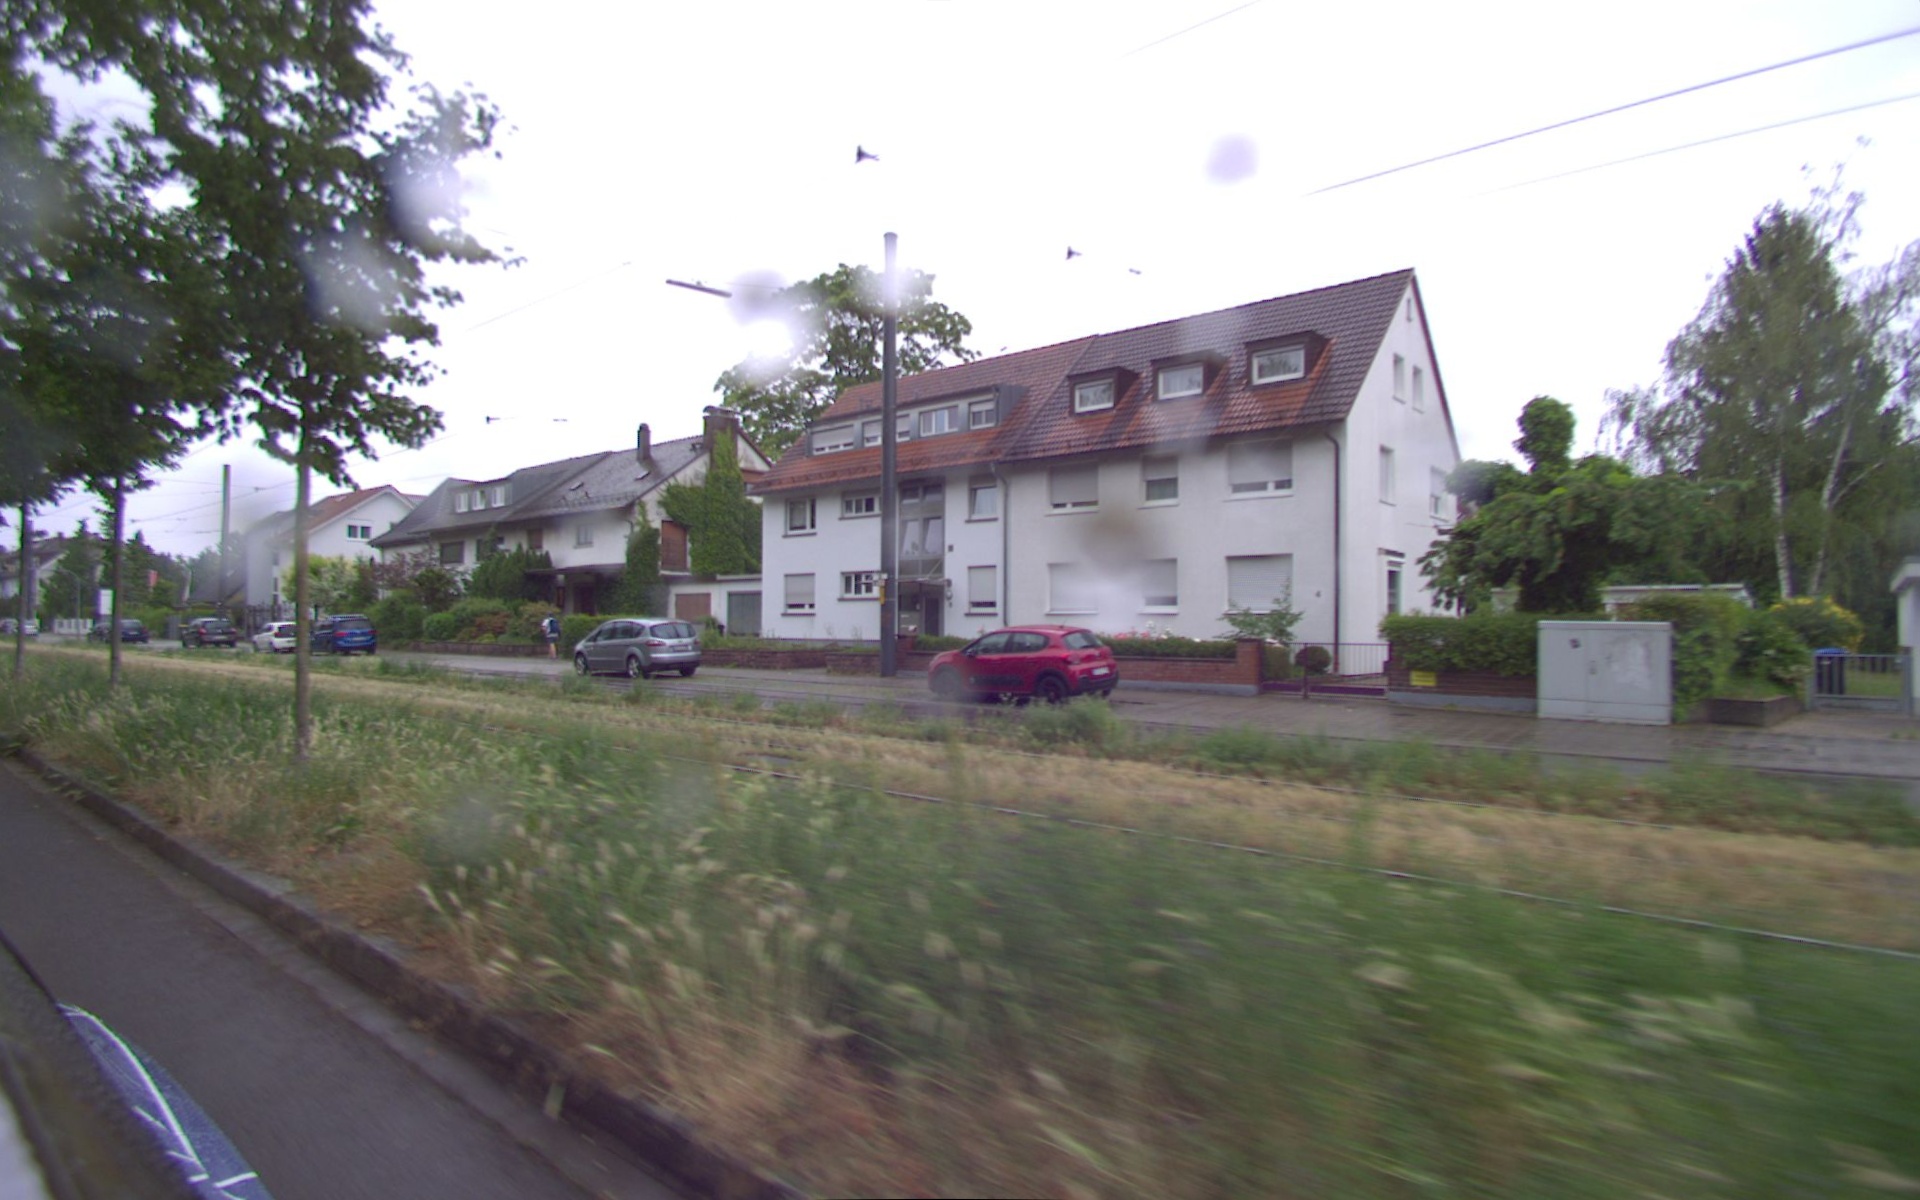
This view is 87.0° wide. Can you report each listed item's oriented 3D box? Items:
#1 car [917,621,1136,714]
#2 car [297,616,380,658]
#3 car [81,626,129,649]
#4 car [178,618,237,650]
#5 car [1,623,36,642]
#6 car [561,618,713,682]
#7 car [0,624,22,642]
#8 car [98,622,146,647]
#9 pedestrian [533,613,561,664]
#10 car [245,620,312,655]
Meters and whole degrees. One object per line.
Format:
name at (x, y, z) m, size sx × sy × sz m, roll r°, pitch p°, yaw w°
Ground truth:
car at (1.234, 1.225, 19.735) m, size 3.971 × 1.558 × 1.822 m, roll -1°, pitch 0°, yaw 42°
car at (-27.068, 1.569, 44.063) m, size 4.178 × 1.719 × 1.826 m, roll -1°, pitch -1°, yaw 39°
car at (-58.603, 2.553, 69.327) m, size 3.998 × 1.510 × 1.869 m, roll -1°, pitch -3°, yaw 41°
car at (-41.443, 1.865, 55.695) m, size 4.108 × 1.626 × 1.737 m, roll -1°, pitch 1°, yaw 40°
car at (-81.519, 2.825, 87.617) m, size 3.851 × 1.527 × 1.737 m, roll -1°, pitch 1°, yaw 40°
car at (-9.135, 1.344, 28.420) m, size 4.682 × 1.626 × 1.972 m, roll -1°, pitch -1°, yaw 42°
car at (-85.208, 2.924, 90.285) m, size 3.851 × 1.527 × 1.737 m, roll -1°, pitch 1°, yaw 40°
car at (-55.132, 2.231, 66.568) m, size 3.851 × 1.527 × 1.737 m, roll -1°, pitch 1°, yaw 40°
pedestrian at (-14.862, 1.373, 36.432) m, size 0.868 × 1.781 × 0.592 m, roll -1°, pitch -1°, yaw 41°
car at (-32.616, 1.764, 48.411) m, size 3.598 × 1.540 × 1.696 m, roll -1°, pitch 1°, yaw 40°
